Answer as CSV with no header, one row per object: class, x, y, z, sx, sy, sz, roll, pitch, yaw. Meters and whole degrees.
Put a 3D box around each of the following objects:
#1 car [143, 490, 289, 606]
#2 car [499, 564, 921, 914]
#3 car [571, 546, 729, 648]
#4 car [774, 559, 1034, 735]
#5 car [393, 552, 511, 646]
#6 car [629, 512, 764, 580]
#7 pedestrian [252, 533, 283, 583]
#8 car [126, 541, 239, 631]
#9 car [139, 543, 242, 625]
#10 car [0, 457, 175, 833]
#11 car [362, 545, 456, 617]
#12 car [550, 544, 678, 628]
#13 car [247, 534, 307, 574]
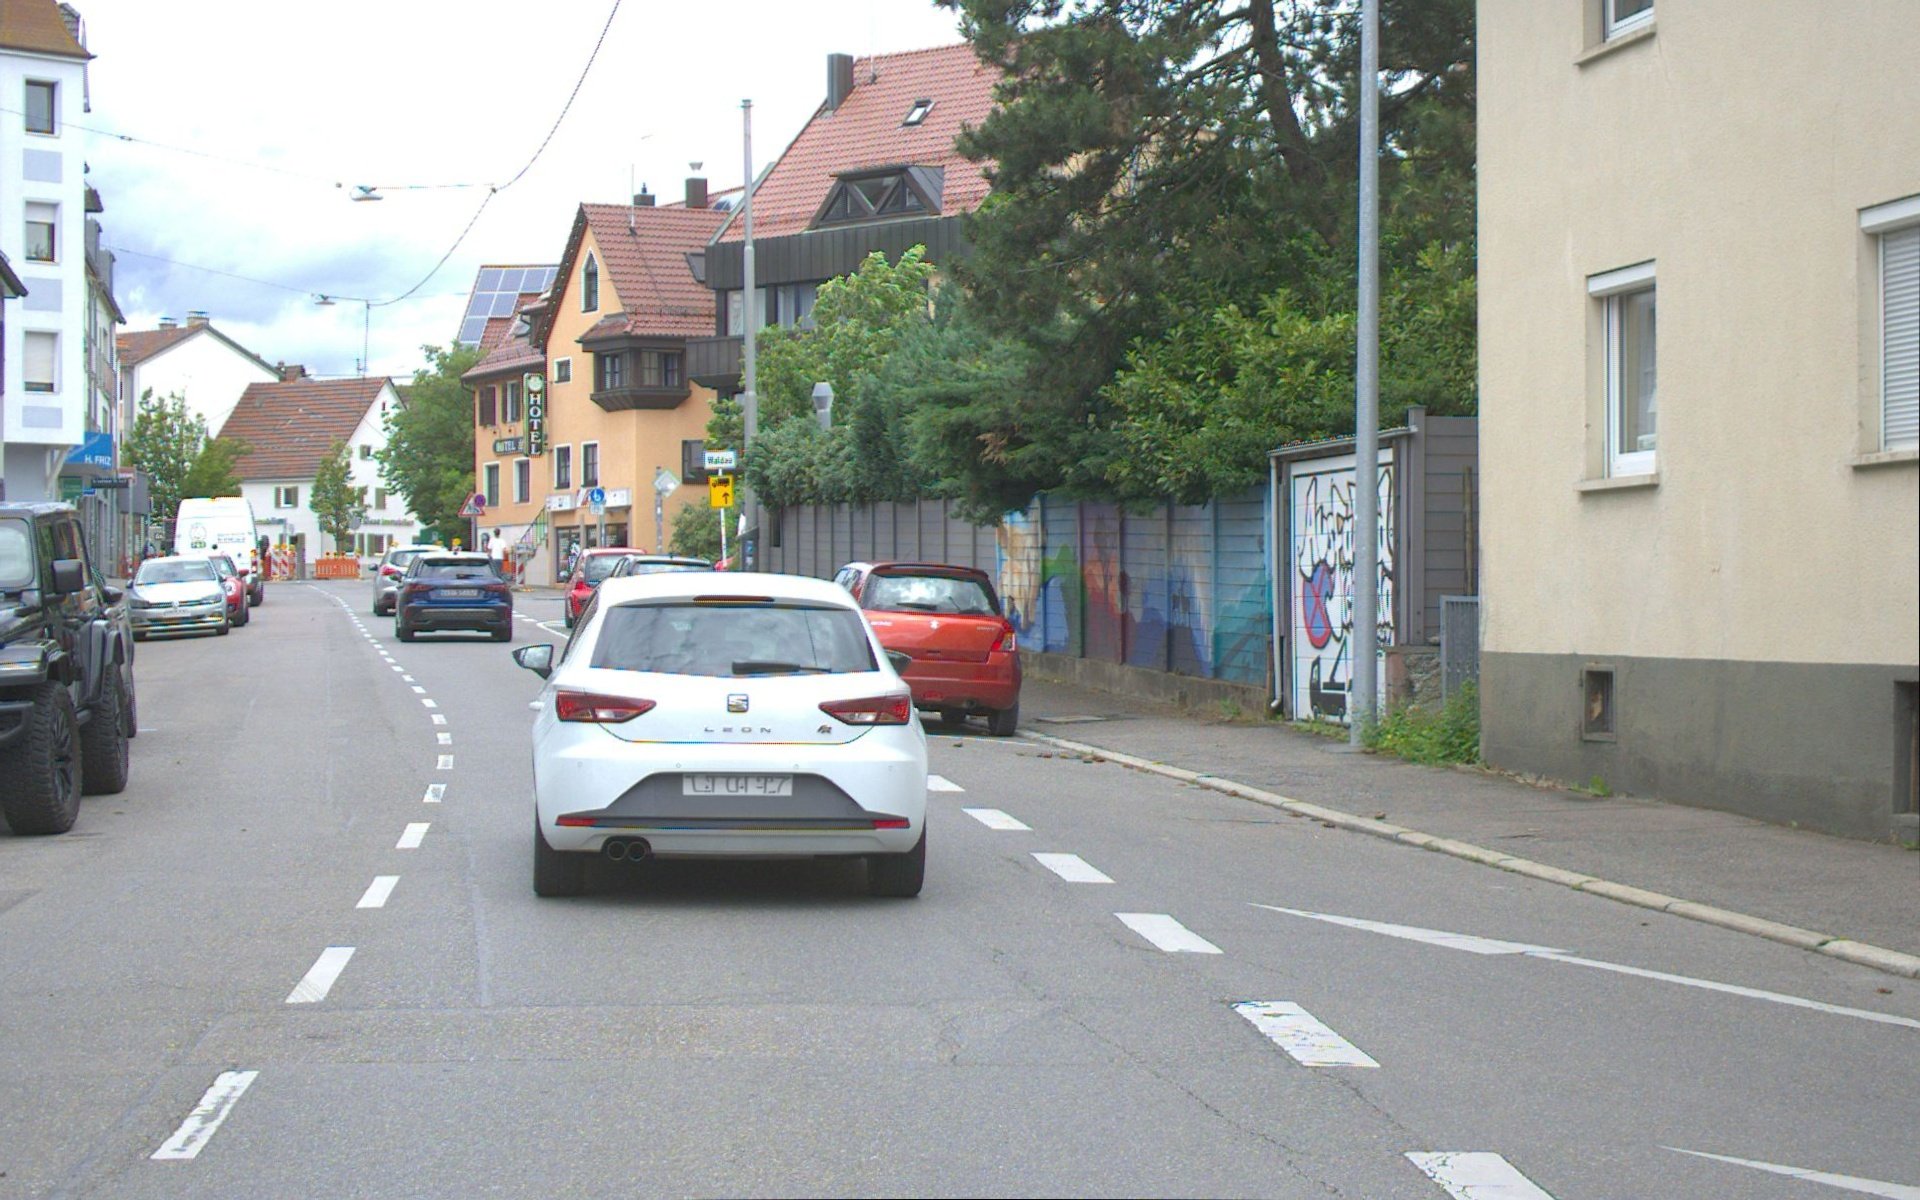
car,-18.017,-1.279,83.507,2.152,2.677,5.545,1,1,2
car,-1.196,0.563,16.423,1.758,1.447,4.001,0,1,-4
car,-4.622,-0.074,50.883,1.758,1.447,4.001,0,1,-14
car,-0.583,0.385,31.598,1.758,1.447,4.001,2,1,-10
car,-8.154,-0.038,54.997,1.758,1.447,4.001,0,1,-10
car,-6.312,-1.287,82.255,2.807,1.507,1.709,1,2,-22
pedestrian,-28.276,-1.726,140.394,1.228,2.007,1.176,1,1,-10
car,-13.933,-0.275,61.742,1.799,1.474,4.052,-3,2,-11
car,-15.051,-0.330,67.356,1.799,1.474,4.052,-3,2,-11
car,-6.073,0.222,20.657,1.993,2.006,4.671,-2,2,-6
car,-11.495,-0.417,71.572,1.758,1.447,4.001,0,1,-11
car,-6.261,-0.277,61.851,1.758,1.447,4.001,0,1,-14
car,-29.429,-1.982,148.133,1.794,1.696,4.000,1,1,0
